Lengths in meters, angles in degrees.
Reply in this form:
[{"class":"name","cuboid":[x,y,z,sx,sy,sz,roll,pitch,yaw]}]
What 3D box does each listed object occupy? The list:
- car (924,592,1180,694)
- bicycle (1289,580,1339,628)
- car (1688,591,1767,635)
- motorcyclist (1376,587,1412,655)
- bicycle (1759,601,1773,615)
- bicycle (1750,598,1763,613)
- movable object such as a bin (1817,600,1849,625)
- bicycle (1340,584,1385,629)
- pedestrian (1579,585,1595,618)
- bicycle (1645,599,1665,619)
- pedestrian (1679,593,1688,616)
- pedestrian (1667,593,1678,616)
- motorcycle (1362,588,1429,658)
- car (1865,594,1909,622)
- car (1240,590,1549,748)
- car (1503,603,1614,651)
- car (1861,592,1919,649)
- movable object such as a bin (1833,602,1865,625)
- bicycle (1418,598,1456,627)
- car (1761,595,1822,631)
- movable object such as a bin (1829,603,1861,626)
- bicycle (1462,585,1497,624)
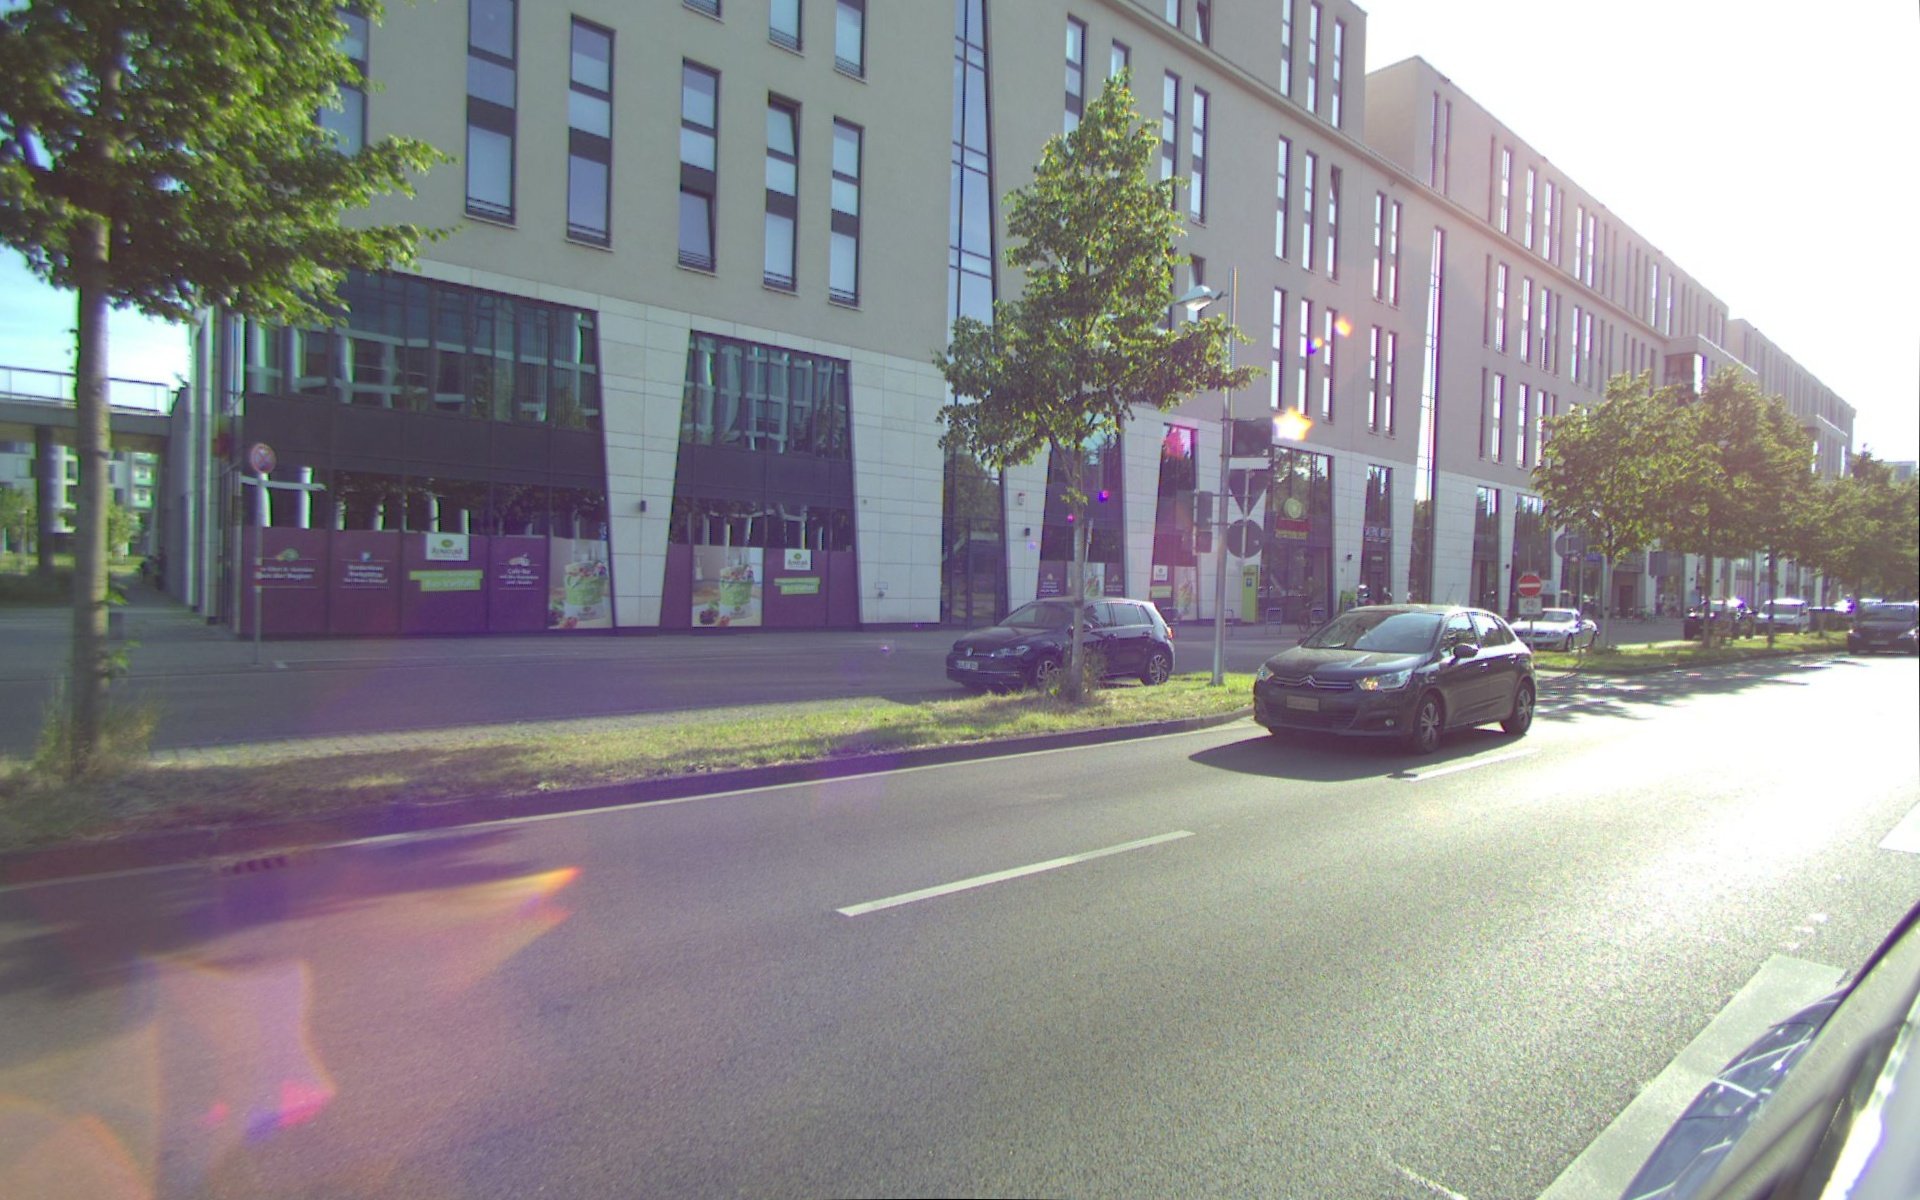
[{"class":"car","cuboid":[1.531,0.578,15.770,4.084,1.388,1.609,0,0,-41]},{"class":"bicycle","cuboid":[12.227,0.121,34.916,2.236,1.590,0.556,-1,0,-40]},{"class":"car","cuboid":[32.462,0.540,42.777,4.598,1.730,1.899,1,-1,-43]},{"class":"motorcyclist","cuboid":[10.944,0.526,25.523,0.411,1.660,0.624,1,3,-44]},{"class":"bicycle","cuboid":[62.618,0.616,78.640,2.008,1.012,0.419,0,5,-41]},{"class":"bicycle","cuboid":[59.947,0.435,76.179,1.702,1.094,0.345,0,5,-41]},{"class":"movable object such as a bin","cuboid":[48.561,0.683,56.282,1.159,1.307,1.278,0,0,-44]},{"class":"bicycle","cuboid":[14.644,0.221,36.769,2.174,1.587,0.556,-1,0,-40]},{"class":"pedestrian","cuboid":[34.086,0.071,55.015,0.635,1.785,0.538,0,0,-41]},{"class":"bicycle","cuboid":[40.830,0.531,59.450,1.911,1.130,0.493,0,2,-41]},{"class":"pedestrian","cuboid":[50.101,0.333,70.086,0.536,1.594,0.509,0,0,34]},{"class":"pedestrian","cuboid":[49.587,0.317,70.446,0.587,1.541,0.514,0,0,-41]},{"class":"motorcycle","cuboid":[11.023,0.556,25.597,1.978,1.636,0.702,-1,5,-43]},{"class":"car","cuboid":[64.950,0.521,70.914,4.946,1.900,1.840,0,0,-42]},{"class":"car","cuboid":[4.954,0.617,11.277,3.970,1.442,1.696,0,0,-42]},{"class":"car","cuboid":[17.401,0.746,29.378,3.838,1.258,1.710,0,0,-42]},{"class":"car","cuboid":[33.866,0.678,36.262,4.738,1.915,1.802,0,0,-41]},{"class":"movable object such as a bin","cuboid":[50.774,0.747,57.819,1.172,1.252,1.278,0,0,-44]},{"class":"bicycle","cuboid":[19.169,0.496,40.640,1.871,1.097,0.635,0,2,-40]},{"class":"car","cuboid":[41.664,0.606,50.660,4.224,1.733,1.829,0,0,-43]},{"class":"movable object such as a bin","cuboid":[49.848,0.786,57.000,1.172,1.252,1.278,0,0,-44]},{"class":"bicycle","cuboid":[22.499,0.181,43.813,2.174,1.639,0.556,-1,0,-40]}]
